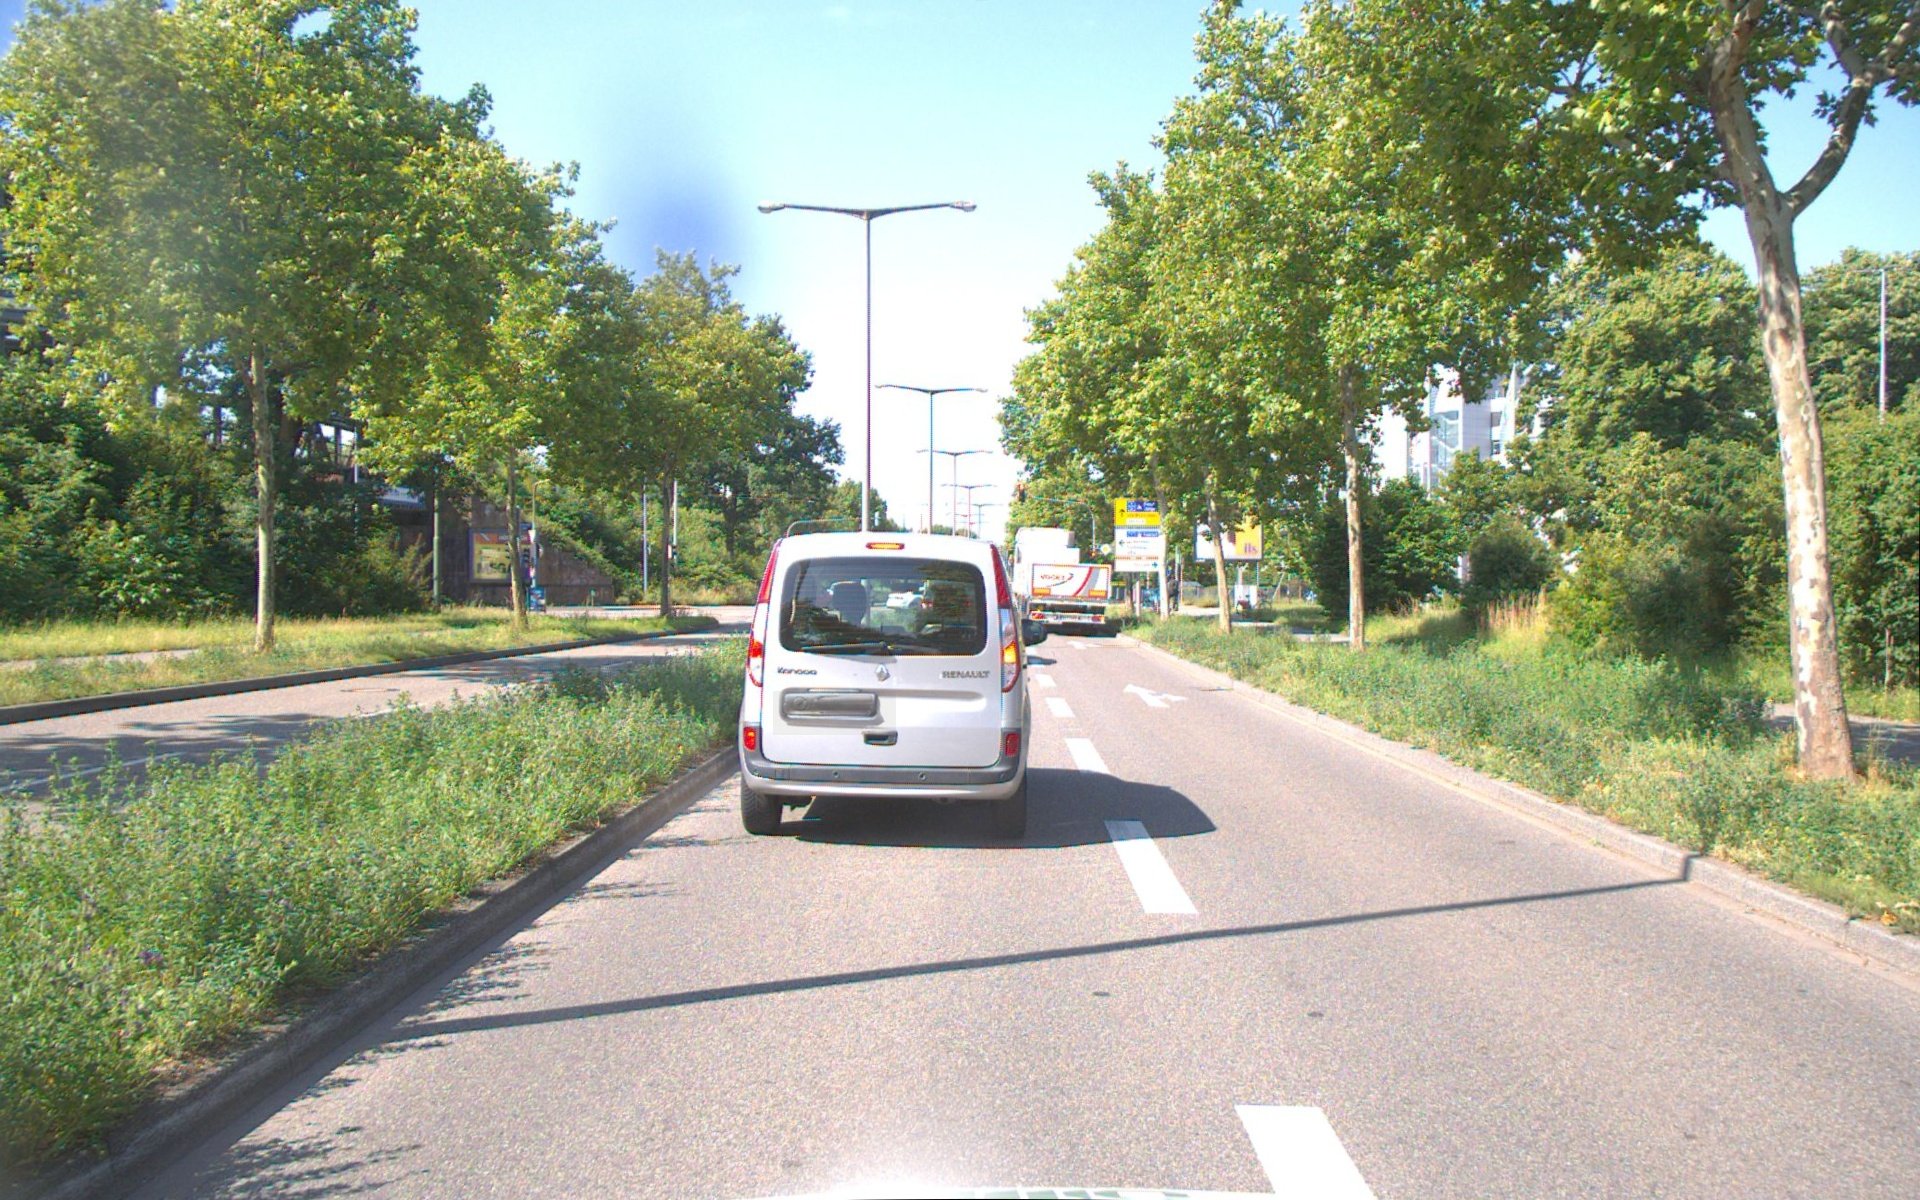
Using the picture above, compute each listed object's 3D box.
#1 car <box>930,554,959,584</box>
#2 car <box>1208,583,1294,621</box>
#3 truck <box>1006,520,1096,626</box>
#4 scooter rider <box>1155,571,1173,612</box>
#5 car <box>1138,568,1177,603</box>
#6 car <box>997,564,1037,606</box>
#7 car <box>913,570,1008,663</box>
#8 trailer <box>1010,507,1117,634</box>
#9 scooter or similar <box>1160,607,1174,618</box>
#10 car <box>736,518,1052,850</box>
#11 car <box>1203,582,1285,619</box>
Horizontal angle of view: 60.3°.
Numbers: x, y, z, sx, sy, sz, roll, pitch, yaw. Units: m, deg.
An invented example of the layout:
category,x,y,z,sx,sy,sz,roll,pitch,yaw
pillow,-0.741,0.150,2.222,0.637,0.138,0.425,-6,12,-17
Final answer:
category,x,y,z,sx,sy,sz,roll,pitch,yaw
car,-1.091,-2.167,116.768,1.680,2.049,3.996,2,0,-5
car,13.841,0.108,78.919,3.902,1.691,1.724,2,0,6
truck,3.453,-1.005,64.623,3.009,3.823,7.475,2,0,0
scooter rider,6.980,-0.287,56.631,0.487,1.361,0.563,2,0,-2
car,10.810,-0.805,90.810,1.778,1.826,3.444,2,0,2
car,2.379,-0.621,69.966,1.436,1.664,3.470,2,0,-2
car,-0.048,0.301,33.432,1.773,1.713,3.999,2,0,-2
trailer,3.347,-0.918,56.649,2.954,3.806,12.241,2,0,1
scooter or similar,7.085,0.440,56.638,0.371,0.364,0.556,2,0,-2
car,-0.363,0.462,11.190,1.713,1.803,3.949,2,0,0
car,14.135,0.010,82.530,3.902,1.691,1.724,2,0,6
